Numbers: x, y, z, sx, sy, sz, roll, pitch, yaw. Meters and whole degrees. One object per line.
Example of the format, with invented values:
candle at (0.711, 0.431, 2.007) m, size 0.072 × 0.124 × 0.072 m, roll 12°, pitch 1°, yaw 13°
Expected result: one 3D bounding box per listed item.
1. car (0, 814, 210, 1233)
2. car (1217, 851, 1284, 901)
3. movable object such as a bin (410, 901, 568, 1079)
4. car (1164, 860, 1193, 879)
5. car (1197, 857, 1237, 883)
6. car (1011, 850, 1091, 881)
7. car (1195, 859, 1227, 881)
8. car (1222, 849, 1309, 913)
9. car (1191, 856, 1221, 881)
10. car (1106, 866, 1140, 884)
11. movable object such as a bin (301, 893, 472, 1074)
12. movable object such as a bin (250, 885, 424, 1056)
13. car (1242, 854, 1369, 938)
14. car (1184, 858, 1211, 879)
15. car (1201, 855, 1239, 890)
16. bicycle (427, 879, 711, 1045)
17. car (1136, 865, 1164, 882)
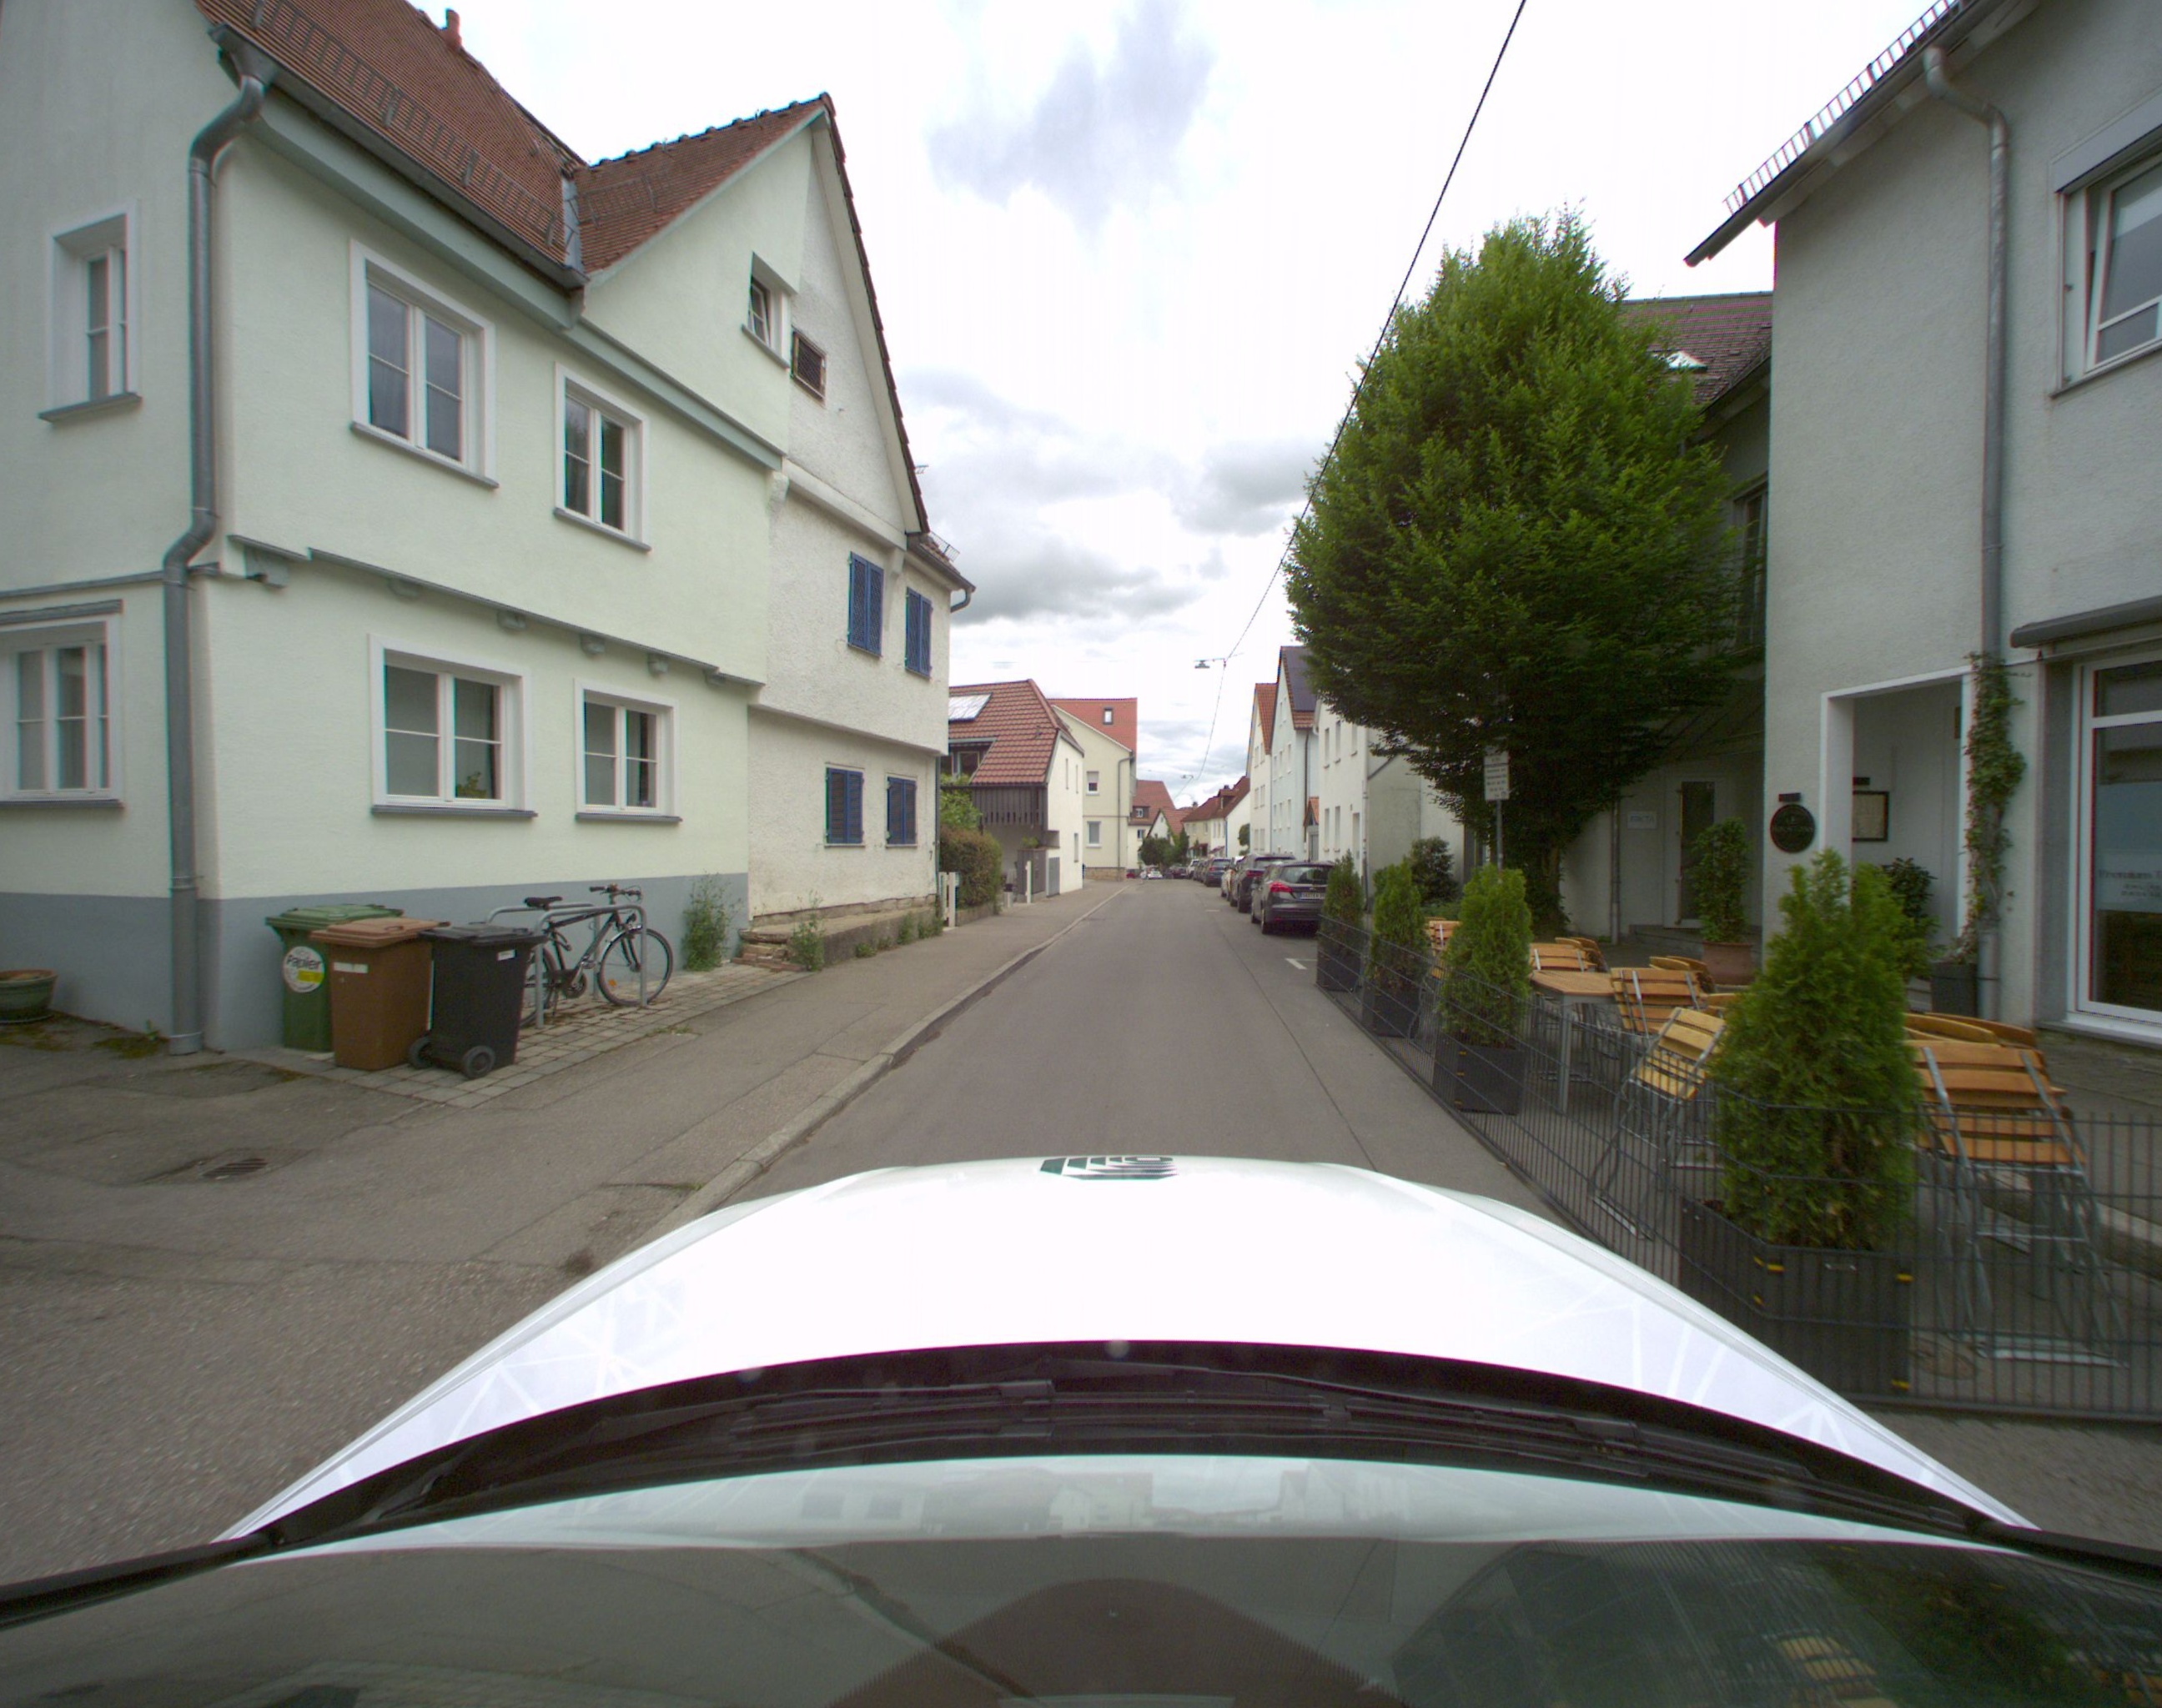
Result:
car at (-6.132, 0.404, 2.529) m, size 4.522 × 1.500 × 1.978 m, roll 5°, pitch -3°, yaw 0°
car at (5.988, 0.720, 29.342) m, size 1.983 × 1.615 × 4.889 m, roll 2°, pitch 0°, yaw 8°
movable object such as a bin at (-3.903, 0.866, 5.392) m, size 0.549 × 0.999 × 0.589 m, roll 6°, pitch 3°, yaw 16°
car at (9.397, 1.547, 78.561) m, size 1.991 × 1.713 × 3.991 m, roll 0°, pitch -3°, yaw -6°
car at (7.835, 0.907, 47.177) m, size 1.909 × 1.410 × 4.662 m, roll -1°, pitch -1°, yaw 5°
car at (-1.523, 0.608, 42.406) m, size 3.708 × 1.411 × 2.126 m, roll 3°, pitch -1°, yaw 10°
car at (8.344, 1.044, 52.502) m, size 1.788 × 1.352 × 4.081 m, roll 1°, pitch -1°, yaw 6°
car at (5.213, 0.714, 23.612) m, size 1.854 × 1.633 × 4.909 m, roll 0°, pitch 0°, yaw 6°
car at (8.816, 1.044, 57.709) m, size 1.728 × 1.610 × 4.004 m, roll 3°, pitch -1°, yaw 4°
car at (4.769, 2.425, 93.439) m, size 2.006 × 1.684 × 3.962 m, roll -5°, pitch -1°, yaw -29°
movable object such as a bin at (-4.503, 0.806, 5.304) m, size 0.565 × 0.999 × 0.602 m, roll 5°, pitch 3°, yaw 15°
movable object such as a bin at (-5.053, 0.757, 5.556) m, size 0.551 × 0.999 × 0.625 m, roll 7°, pitch 2°, yaw 15°
car at (4.635, 0.780, 17.529) m, size 1.937 × 1.508 × 4.830 m, roll 1°, pitch 0°, yaw 7°
car at (9.682, 1.207, 67.716) m, size 1.865 × 1.713 × 4.151 m, roll 0°, pitch -1°, yaw 3°
car at (7.172, 0.917, 42.273) m, size 1.744 × 1.628 × 4.544 m, roll 2°, pitch 0°, yaw 7°
bicycle at (-4.058, 0.781, 6.709) m, size 0.439 × 1.039 × 2.103 m, roll 5°, pitch 2°, yaw 20°
car at (7.445, 2.117, 87.749) m, size 1.964 × 1.713 × 3.984 m, roll 1°, pitch 0°, yaw -12°
